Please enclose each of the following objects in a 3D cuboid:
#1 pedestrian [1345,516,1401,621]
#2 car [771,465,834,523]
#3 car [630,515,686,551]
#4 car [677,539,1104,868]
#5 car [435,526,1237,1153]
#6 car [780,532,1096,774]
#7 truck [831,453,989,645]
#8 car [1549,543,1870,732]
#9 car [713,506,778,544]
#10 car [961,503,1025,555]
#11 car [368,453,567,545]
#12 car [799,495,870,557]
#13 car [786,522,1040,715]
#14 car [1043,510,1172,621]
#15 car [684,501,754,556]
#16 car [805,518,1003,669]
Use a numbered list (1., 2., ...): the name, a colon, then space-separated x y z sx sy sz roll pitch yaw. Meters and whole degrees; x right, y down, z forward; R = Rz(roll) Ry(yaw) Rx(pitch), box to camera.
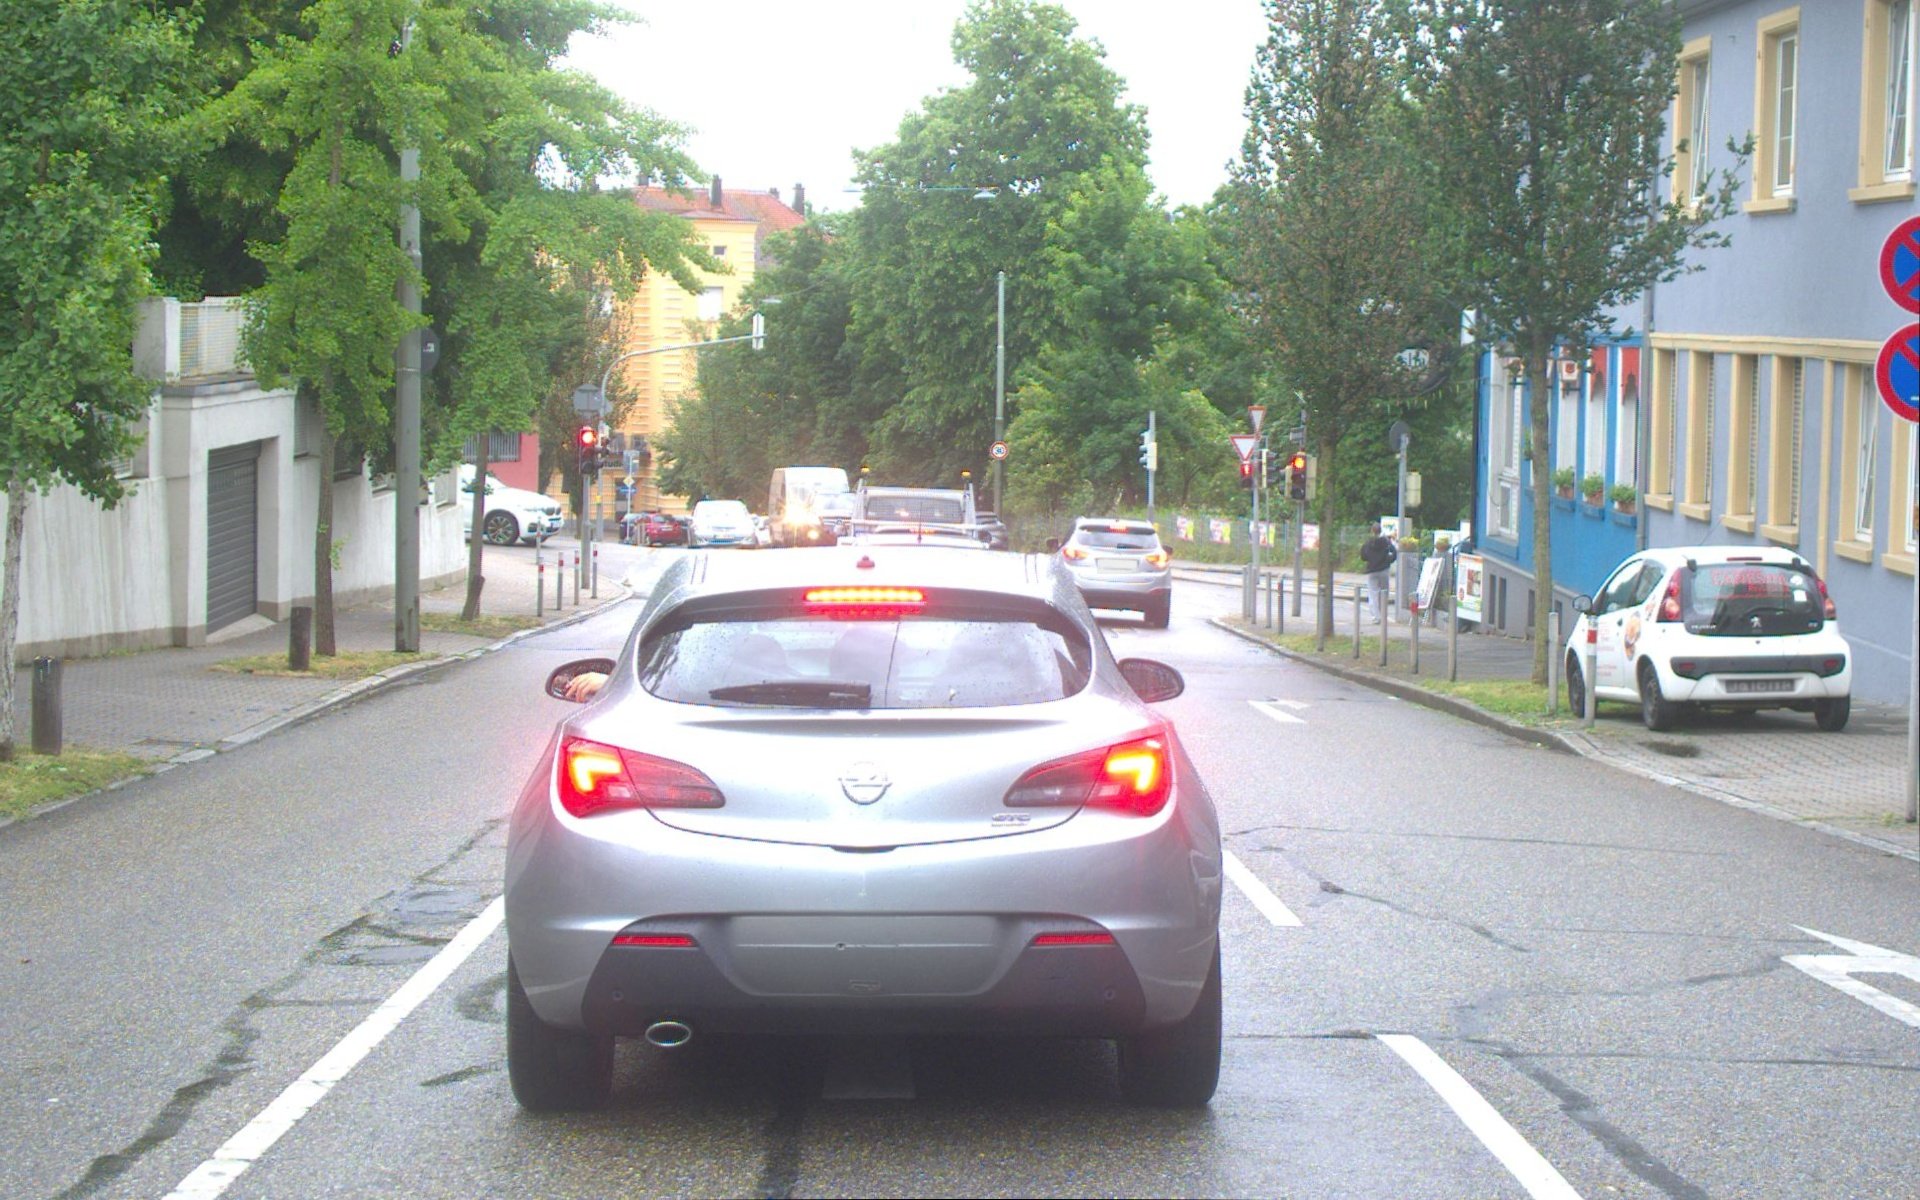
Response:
1. pedestrian: 6.927 -0.526 57.684 0.783 1.723 0.651 2 1 0
2. car: -4.612 -3.069 100.219 1.722 1.632 3.880 0 1 -4
3. car: -13.906 -3.080 158.096 1.722 1.632 3.881 0 1 -18
4. car: -0.392 0.450 18.341 1.962 1.443 4.306 2 1 -2
5. car: -0.367 0.517 9.910 1.837 1.429 3.880 1 1 -2
6. car: -0.205 0.298 24.061 1.962 1.443 4.306 2 1 -2
7. truck: -0.724 -0.731 47.091 1.962 2.420 4.936 2 1 -2
8. car: 6.164 0.262 28.701 1.722 1.443 3.880 0 1 -2
9. car: -8.699 -3.043 139.327 1.722 1.538 3.881 0 1 -18
10. car: 1.020 -2.257 108.892 1.722 1.632 3.880 0 1 -4
11. car: -10.867 -2.220 76.041 3.987 1.908 2.000 1 0 5
12. car: -3.376 -1.982 92.599 1.870 1.632 3.880 0 1 -2
13. car: -0.436 0.099 29.440 1.962 1.443 4.306 2 1 -2
14. car: 2.331 -0.575 55.126 1.722 1.708 3.880 0 1 -2
15. car: -6.470 -1.922 92.580 1.722 1.455 3.880 0 1 -2
16. car: -0.634 -0.117 37.099 1.962 1.443 4.306 2 1 -2
